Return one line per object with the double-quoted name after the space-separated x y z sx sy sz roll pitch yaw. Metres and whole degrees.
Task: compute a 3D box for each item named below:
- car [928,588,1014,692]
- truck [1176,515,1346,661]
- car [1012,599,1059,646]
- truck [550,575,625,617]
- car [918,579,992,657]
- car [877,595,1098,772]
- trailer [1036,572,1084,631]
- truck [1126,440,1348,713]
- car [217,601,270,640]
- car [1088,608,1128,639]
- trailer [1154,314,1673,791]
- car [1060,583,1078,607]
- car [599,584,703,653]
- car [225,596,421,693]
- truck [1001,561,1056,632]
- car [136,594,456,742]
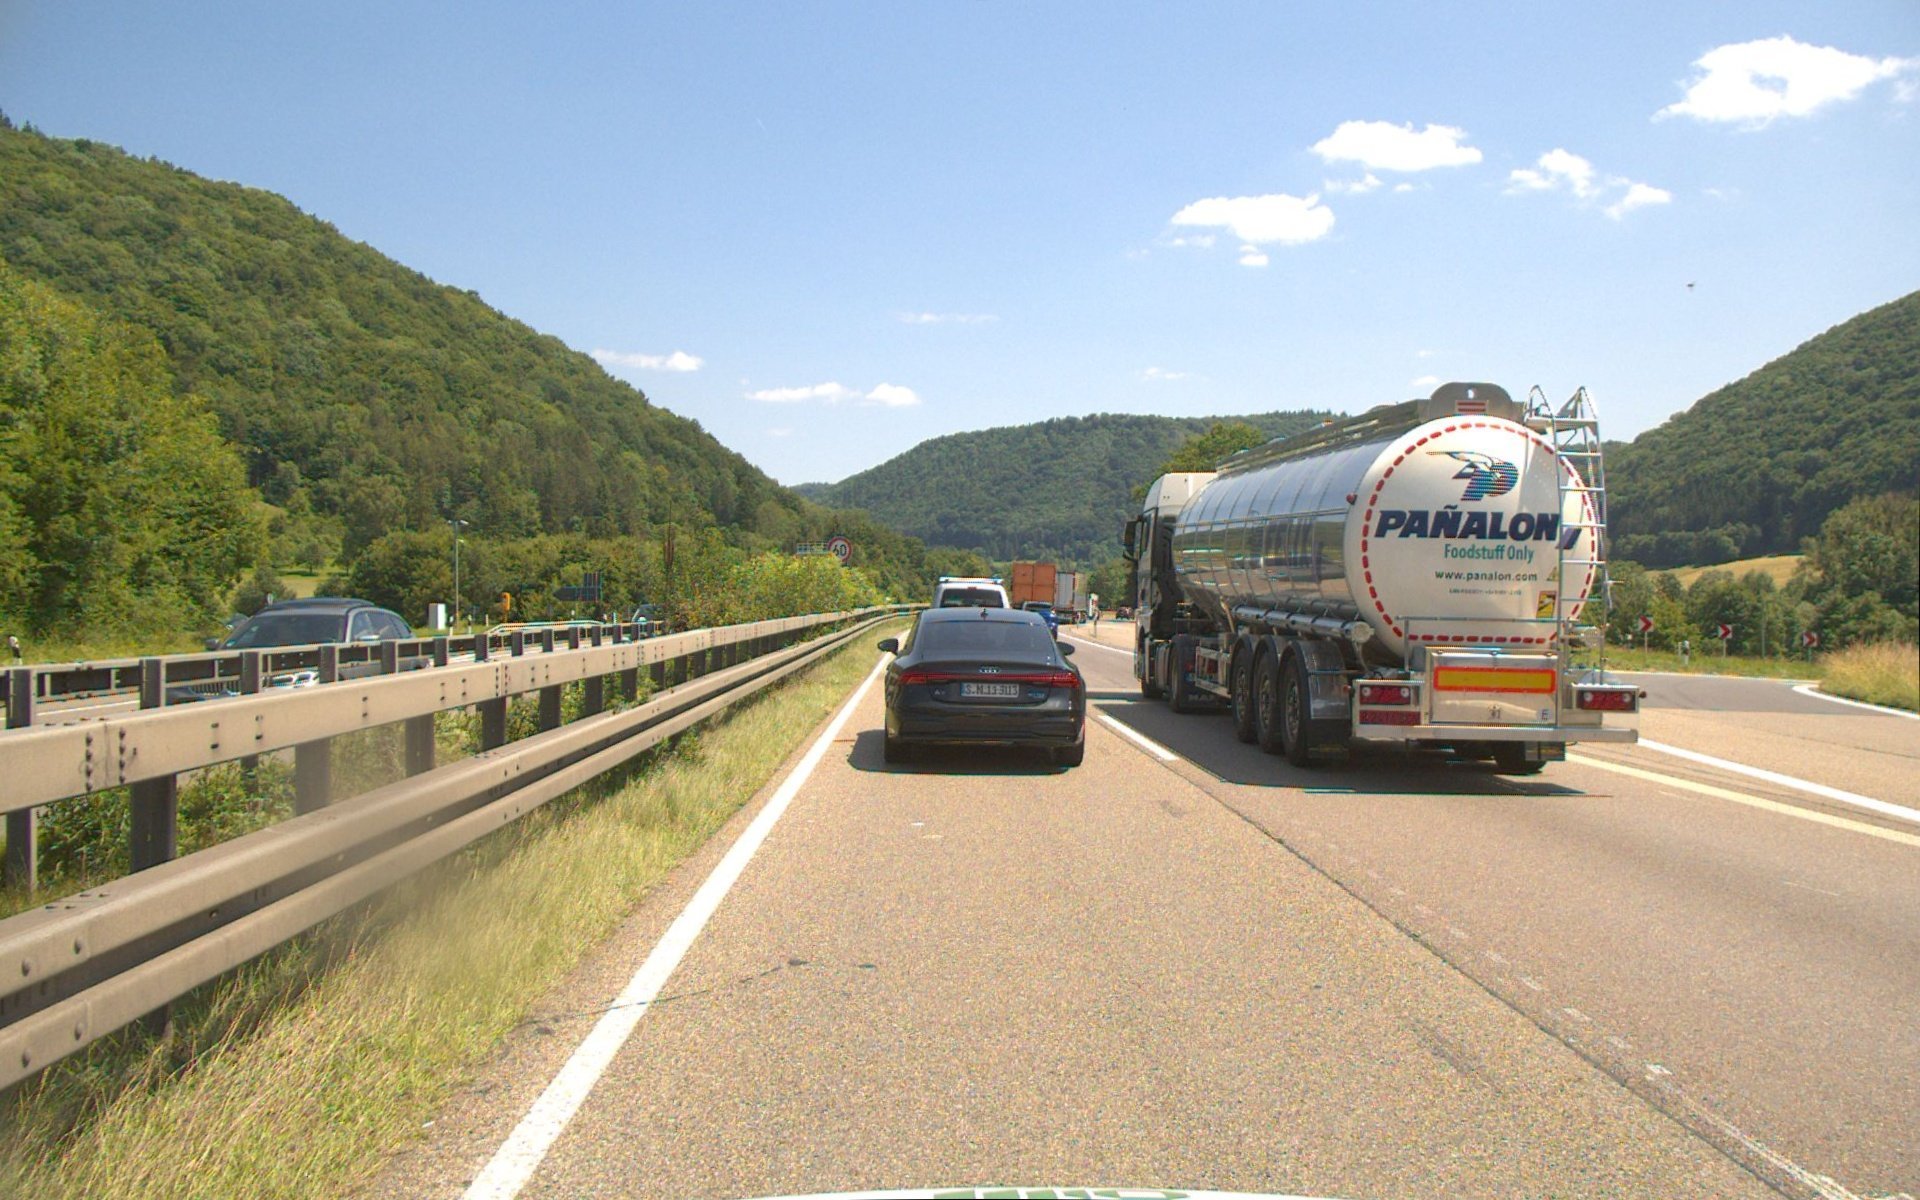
0.170 0.730 31.910 1.544 1.865 3.999 0 0 -1 "car"
9.405 -0.333 53.740 2.760 4.073 14.954 0 0 0 "truck"
3.346 0.996 73.972 1.952 2.038 4.000 0 0 0 "car"
-25.311 -0.259 112.808 3.509 2.742 8.444 0 0 -2 "truck"
-0.168 0.484 45.837 1.953 2.049 3.999 0 0 -1 "car"
0.137 0.723 16.264 1.813 1.514 4.079 0 0 -4 "car"
7.920 0.117 132.567 2.954 4.459 10.982 0 0 -1 "trailer"
4.173 -0.329 25.942 2.460 3.824 5.244 0 0 -1 "truck"
-35.254 1.000 81.310 1.791 1.870 3.955 1 0 -33 "car"
7.447 1.177 83.653 1.711 1.557 4.000 0 0 1 "car"
4.335 -0.374 19.193 2.487 3.801 11.888 0 0 -1 "trailer"
14.175 -0.651 215.117 1.953 2.986 4.898 0 0 0 "car"
-8.080 0.473 43.630 1.953 1.642 4.273 -2 0 -1 "car"
-11.558 0.760 30.371 1.883 1.649 4.560 0 0 -1 "car"
4.151 -0.171 102.959 2.760 4.073 14.954 0 0 0 "truck"
-7.645 0.718 19.614 1.953 1.545 4.676 0 0 -1 "car"
